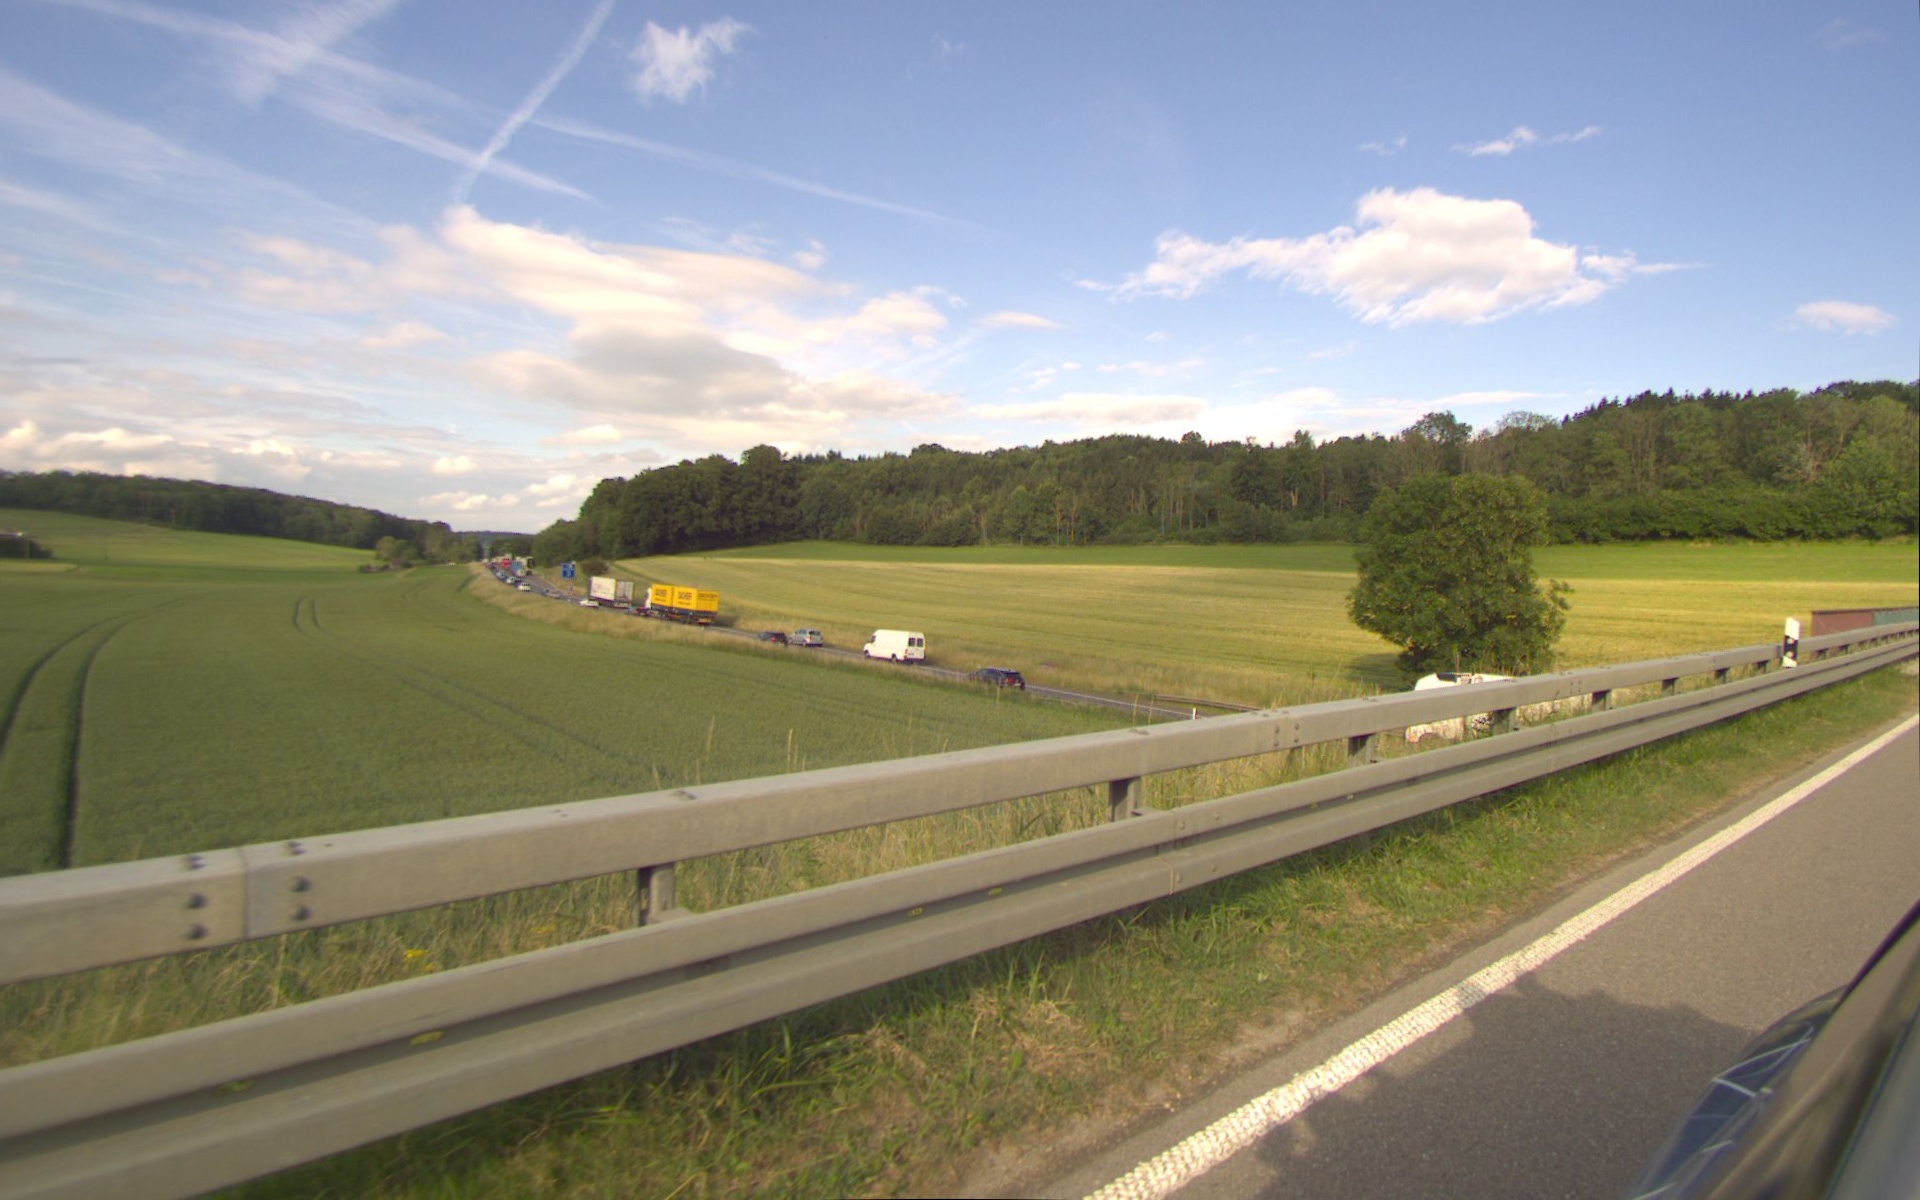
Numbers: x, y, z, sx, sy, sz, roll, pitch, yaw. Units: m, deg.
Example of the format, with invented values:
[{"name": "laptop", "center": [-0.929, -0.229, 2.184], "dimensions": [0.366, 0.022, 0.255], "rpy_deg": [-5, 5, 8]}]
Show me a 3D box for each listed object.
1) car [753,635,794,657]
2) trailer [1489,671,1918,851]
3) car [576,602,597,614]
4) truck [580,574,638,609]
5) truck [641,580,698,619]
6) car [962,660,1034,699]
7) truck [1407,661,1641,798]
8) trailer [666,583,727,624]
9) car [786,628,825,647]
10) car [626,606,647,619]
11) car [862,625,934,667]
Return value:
[{"name": "car", "center": [-15.563, 3.807, 84.196], "dimensions": [1.652, 1.538, 3.998], "rpy_deg": [1, 1, -38]}, {"name": "trailer", "center": [27.621, 5.646, 38.749], "dimensions": [2.976, 4.524, 12.721], "rpy_deg": [4, 0, -38]}, {"name": "car", "center": [-48.274, 1.017, 130.723], "dimensions": [1.579, 1.412, 3.326], "rpy_deg": [1, 1, -38]}, {"name": "truck", "center": [-50.447, -1.347, 145.082], "dimensions": [4.004, 4.043, 14.429], "rpy_deg": [-4, 5, -35]}, {"name": "truck", "center": [-34.942, -0.123, 121.488], "dimensions": [3.764, 4.109, 9.807], "rpy_deg": [-2, 3, -34]}, {"name": "car", "center": [2.231, 4.695, 60.347], "dimensions": [1.747, 1.722, 4.369], "rpy_deg": [-1, 4, -40]}, {"name": "truck", "center": [23.947, 5.318, 43.442], "dimensions": [2.974, 4.524, 8.052], "rpy_deg": [4, 0, -38]}, {"name": "trailer", "center": [-29.710, 0.274, 113.772], "dimensions": [3.765, 4.109, 9.133], "rpy_deg": [-2, 3, -34]}, {"name": "car", "center": [-14.006, 3.392, 91.692], "dimensions": [1.770, 1.487, 3.999], "rpy_deg": [3, 0, -37]}, {"name": "car", "center": [-36.454, 1.413, 114.018], "dimensions": [1.352, 1.283, 3.099], "rpy_deg": [1, 1, -36]}, {"name": "car", "center": [-4.903, 3.572, 79.270], "dimensions": [2.329, 2.617, 6.122], "rpy_deg": [6, -1, -38]}]
